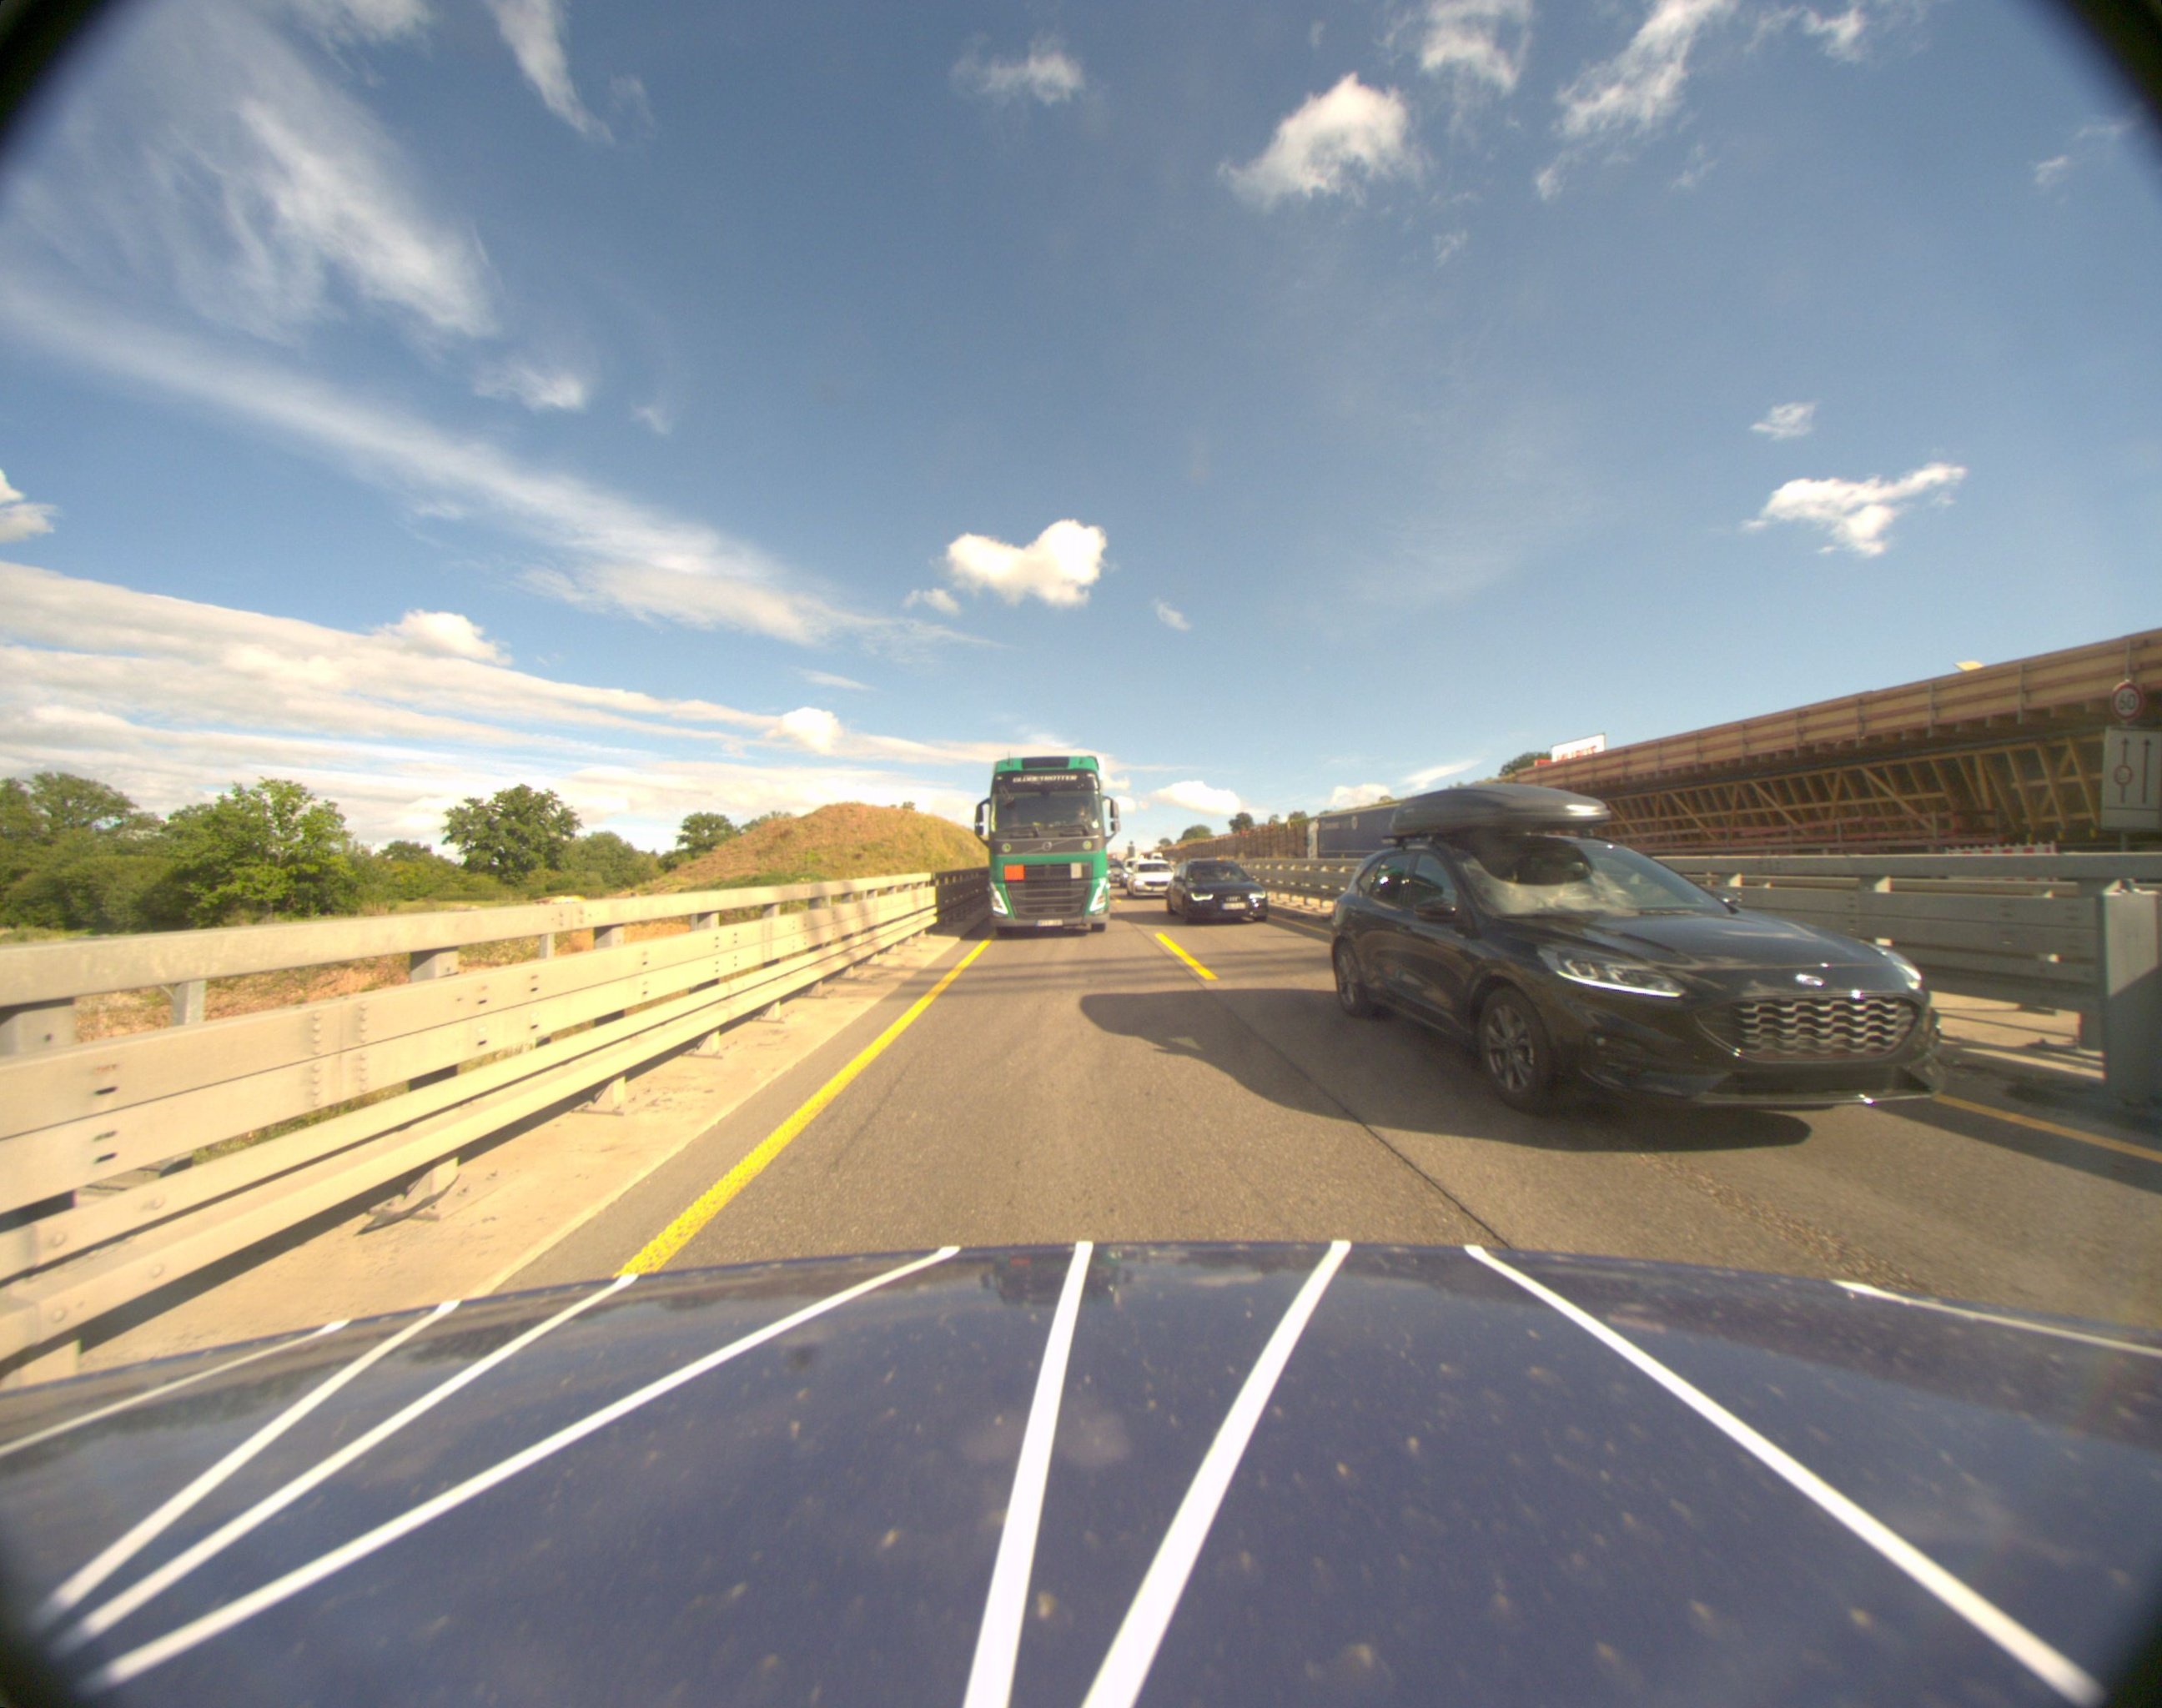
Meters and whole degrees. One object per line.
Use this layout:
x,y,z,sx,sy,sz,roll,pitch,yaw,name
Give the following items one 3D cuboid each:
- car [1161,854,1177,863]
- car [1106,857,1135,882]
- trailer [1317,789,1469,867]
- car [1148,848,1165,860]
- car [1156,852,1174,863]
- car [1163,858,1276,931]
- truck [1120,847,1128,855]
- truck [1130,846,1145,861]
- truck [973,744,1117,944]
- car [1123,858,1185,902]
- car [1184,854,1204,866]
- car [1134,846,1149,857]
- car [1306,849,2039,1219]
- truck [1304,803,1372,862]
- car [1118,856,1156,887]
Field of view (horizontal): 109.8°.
14.871,0.754,128.515,1.949,1.422,4.406,-4,1,-1,car
2.605,1.001,50.814,1.659,1.510,3.999,-2,1,-1,car
17.144,-1.327,43.411,2.870,3.645,13.525,-2,1,-1,trailer
15.306,0.025,153.867,2.572,2.329,6.404,-2,1,-1,car
12.322,0.509,112.078,1.949,1.422,4.406,-4,1,-1,car
3.243,0.879,18.689,1.949,1.422,4.504,-2,1,0,car
14.720,-0.996,260.328,2.383,2.503,6.552,-2,1,-1,truck
15.200,-0.184,205.614,3.178,3.843,8.232,-2,1,-1,truck
-0.760,-0.253,20.021,2.664,3.825,10.315,-2,1,-1,truck
2.801,0.972,30.166,1.949,1.422,4.408,-4,0,0,car
15.534,0.796,104.427,1.949,1.422,4.406,-4,1,-1,car
14.430,-0.658,182.643,2.887,2.329,6.404,-2,1,-1,car
3.211,0.783,5.471,1.804,1.533,4.384,-2,0,-1,car
17.094,-1.408,50.776,2.849,3.608,4.809,-2,1,1,truck
3.026,0.920,41.735,1.659,1.510,3.999,-2,1,-1,car
